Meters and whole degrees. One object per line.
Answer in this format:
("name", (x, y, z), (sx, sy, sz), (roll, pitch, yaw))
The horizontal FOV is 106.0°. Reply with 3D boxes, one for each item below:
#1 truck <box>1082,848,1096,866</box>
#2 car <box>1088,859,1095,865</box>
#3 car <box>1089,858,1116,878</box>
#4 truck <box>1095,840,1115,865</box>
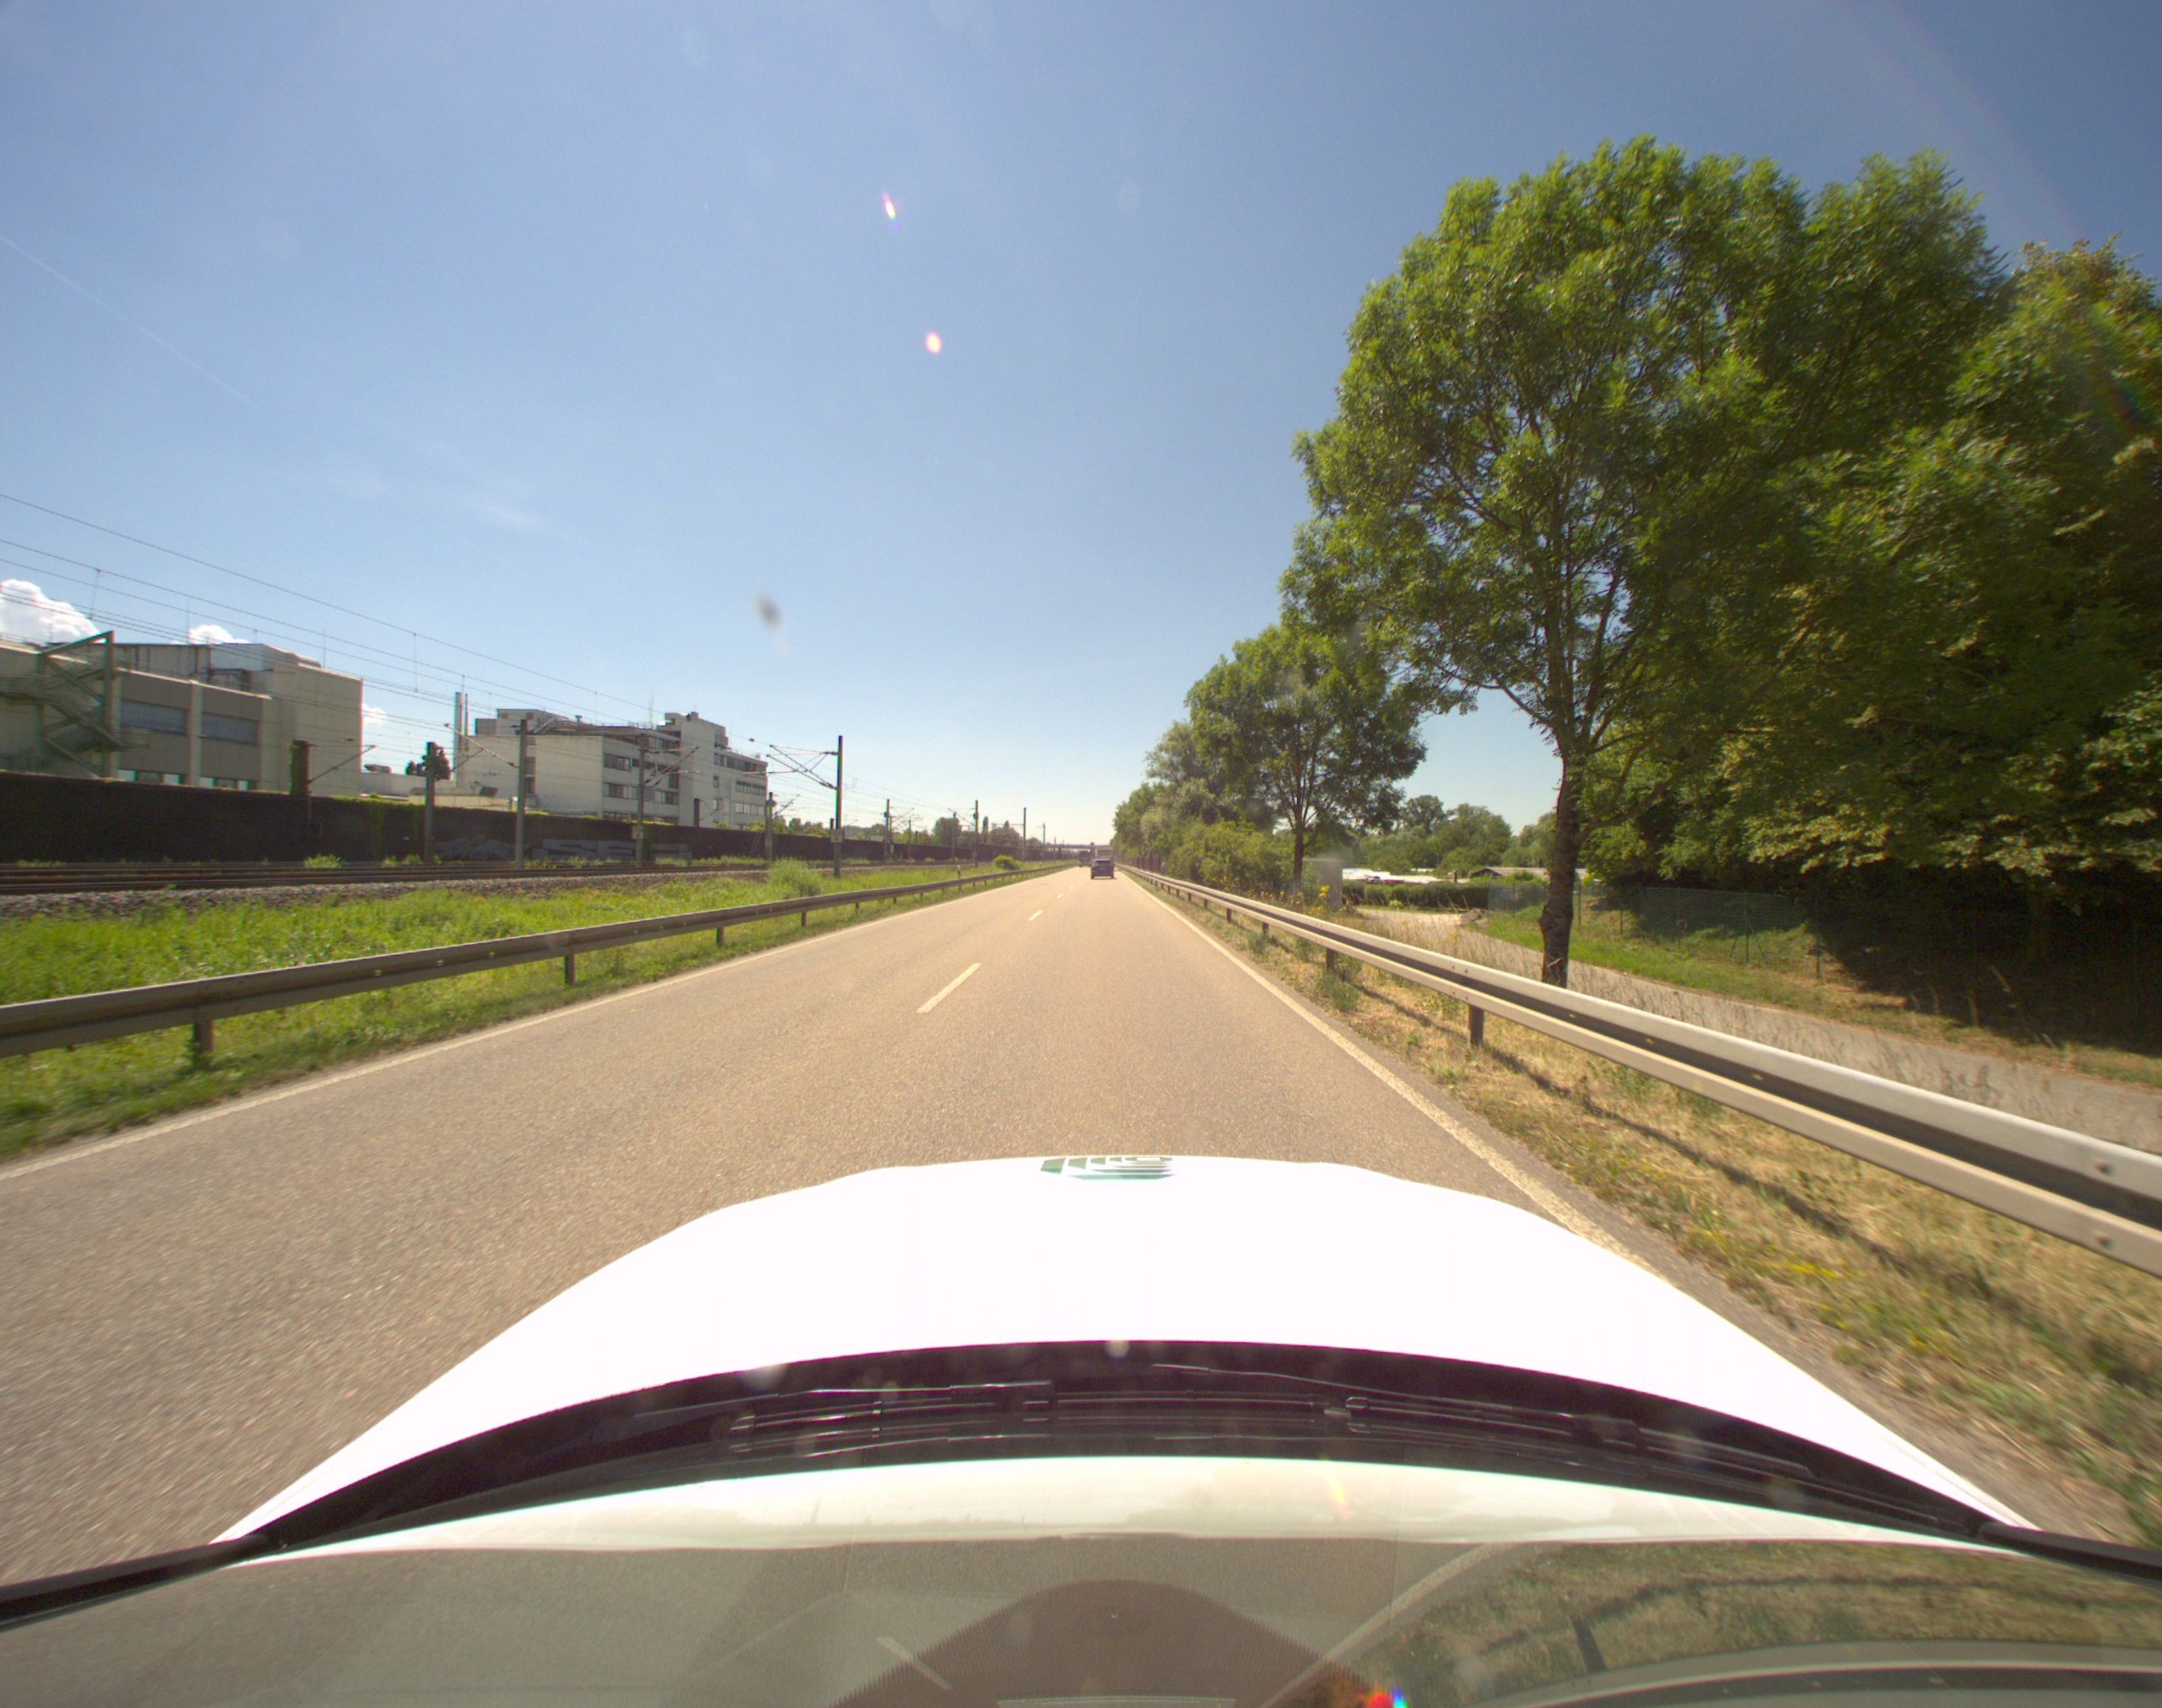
("truck", (1.681, 0.685, 168.233), (2.649, 3.627, 10.977), (0, 0, 1))
("car", (2.816, 2.238, 222.797), (1.967, 1.508, 4.164), (0, 0, 2))
("car", (1.630, 1.053, 64.110), (1.987, 1.508, 3.999), (-1, 0, -1))
("truck", (3.414, -0.104, 117.395), (2.760, 3.425, 10.823), (0, 0, 2))
